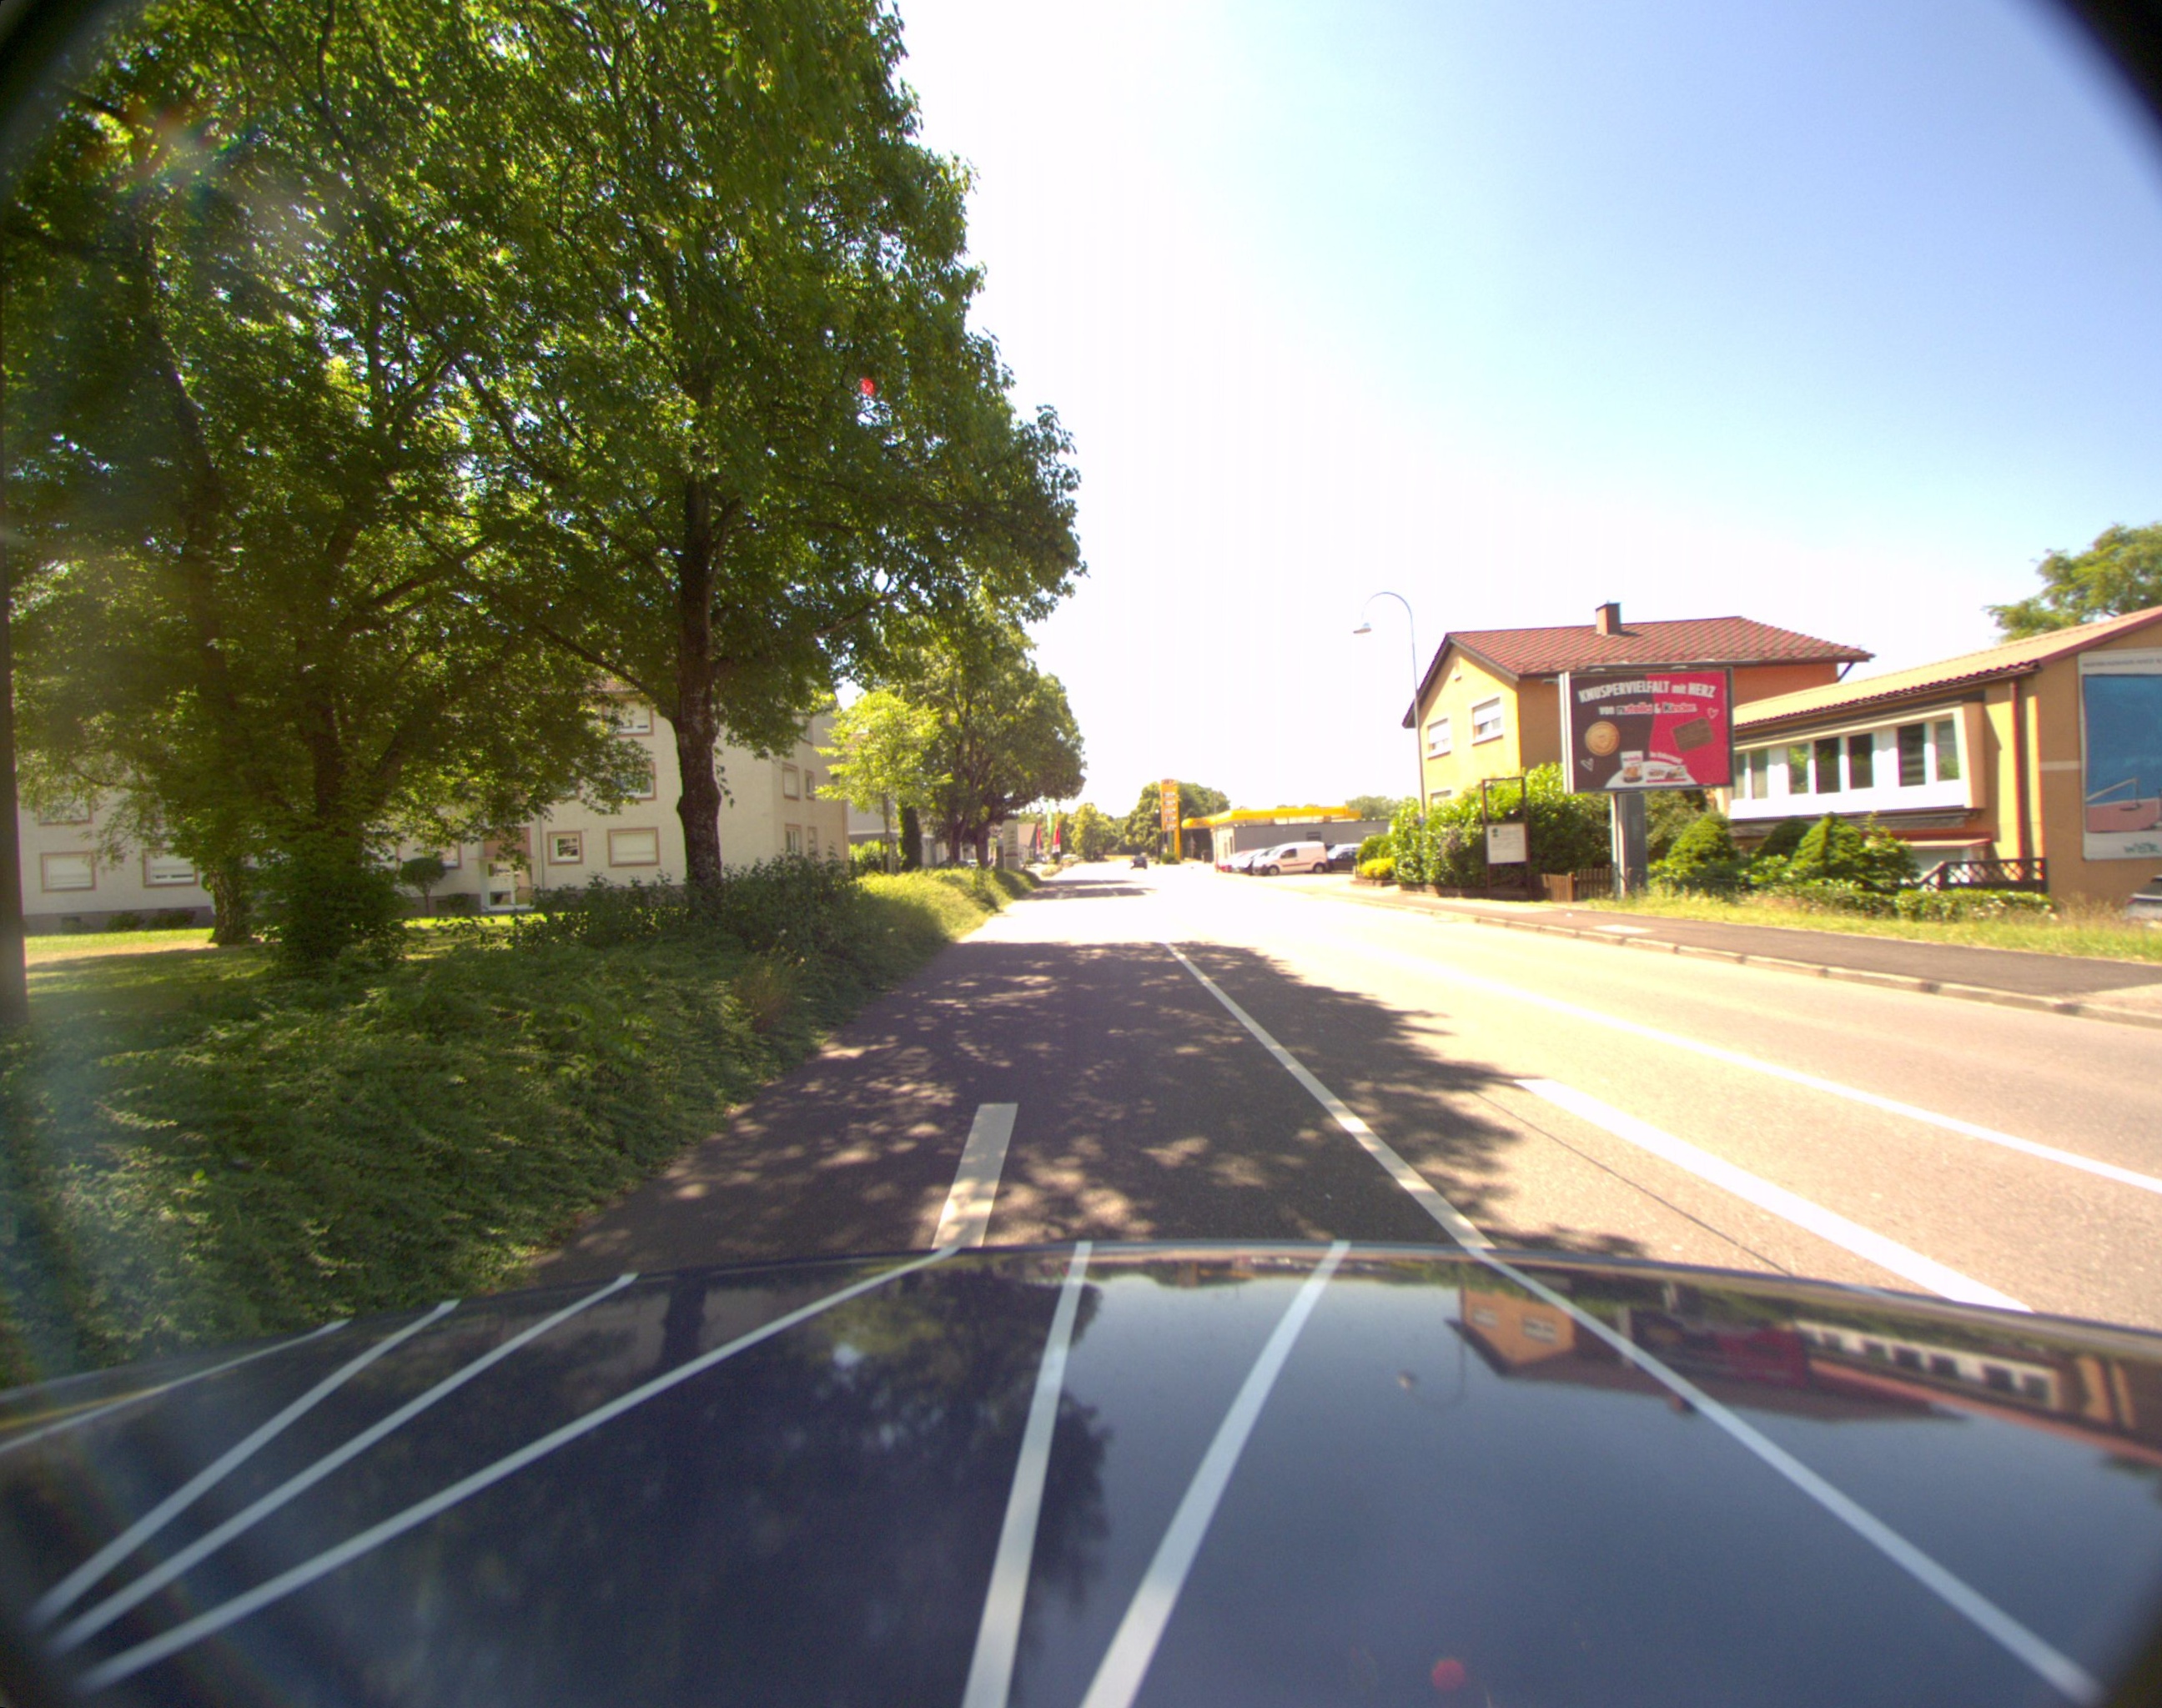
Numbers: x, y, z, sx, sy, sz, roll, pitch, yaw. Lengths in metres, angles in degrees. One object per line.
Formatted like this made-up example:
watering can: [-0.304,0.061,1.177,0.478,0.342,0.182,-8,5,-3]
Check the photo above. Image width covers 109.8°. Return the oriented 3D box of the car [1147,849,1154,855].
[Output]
car: [20.040,-0.668,219.537,1.973,1.663,4.250,-2,0,5]

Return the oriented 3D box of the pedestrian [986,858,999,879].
pedestrian: [-7.134,1.142,61.237,0.842,1.632,1.010,-2,1,5]

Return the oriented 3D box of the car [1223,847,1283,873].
car: [11.899,0.403,52.818,3.673,1.596,1.881,-2,1,-2]

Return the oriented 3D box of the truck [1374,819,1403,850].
truck: [34.360,-2.124,84.901,1.850,3.223,3.190,-2,0,1]

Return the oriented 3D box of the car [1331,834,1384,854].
car: [24.402,-0.870,67.061,3.996,1.575,1.754,-2,1,2]

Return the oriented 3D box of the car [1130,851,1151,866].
car: [6.204,0.493,79.493,1.714,1.486,4.277,-2,0,0]

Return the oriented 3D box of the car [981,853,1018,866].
car: [-11.177,0.737,104.184,4.586,1.632,2.002,-2,1,20]

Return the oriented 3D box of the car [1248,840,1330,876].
car: [12.049,0.211,44.148,4.105,1.887,1.999,-2,1,-4]

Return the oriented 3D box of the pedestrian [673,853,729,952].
pedestrian: [-7.550,0.941,15.120,0.705,1.903,0.660,-2,1,3]

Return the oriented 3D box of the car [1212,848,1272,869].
car: [12.164,0.347,57.655,4.136,1.435,1.826,-2,1,0]

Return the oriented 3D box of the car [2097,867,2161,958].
car: [19.707,0.928,12.207,4.035,1.442,1.781,-1,0,6]

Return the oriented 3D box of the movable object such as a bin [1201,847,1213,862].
movable object such as a bin: [13.454,0.062,81.070,0.954,1.508,1.428,-6,-1,1]

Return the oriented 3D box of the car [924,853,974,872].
car: [-11.426,0.733,66.088,3.997,1.541,1.797,-1,1,0]

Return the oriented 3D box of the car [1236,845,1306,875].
car: [11.524,0.347,46.246,3.673,1.663,1.922,-2,1,-2]

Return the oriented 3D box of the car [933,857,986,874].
car: [-11.163,1.018,69.777,4.362,1.363,1.952,-2,1,-22]

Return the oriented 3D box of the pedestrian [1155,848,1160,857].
pedestrian: [14.031,-0.274,139.909,0.730,1.779,0.621,-2,1,14]

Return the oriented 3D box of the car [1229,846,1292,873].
car: [11.955,0.344,50.626,3.673,1.572,1.922,-2,1,-2]

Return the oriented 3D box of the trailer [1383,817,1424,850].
trailer: [34.296,-2.137,81.041,1.869,3.200,5.914,-2,0,1]

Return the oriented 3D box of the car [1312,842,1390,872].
car: [16.349,0.186,46.078,3.997,1.559,1.830,-3,0,-1]

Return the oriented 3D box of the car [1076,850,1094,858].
car: [0.856,0.090,150.235,3.405,1.498,1.582,-1,0,2]

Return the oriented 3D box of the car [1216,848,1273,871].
car: [11.908,0.388,55.354,3.673,1.449,1.892,-2,1,-2]

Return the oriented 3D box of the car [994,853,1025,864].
car: [-10.441,0.632,111.234,3.992,1.452,1.807,-2,1,16]

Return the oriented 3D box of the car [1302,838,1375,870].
car: [16.273,-0.015,48.226,3.912,1.850,2.000,-2,0,-1]

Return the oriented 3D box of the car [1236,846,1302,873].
car: [11.938,0.349,48.517,3.673,1.523,1.922,-2,1,-2]

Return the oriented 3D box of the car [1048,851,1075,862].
car: [-3.544,0.444,137.695,4.522,1.658,1.895,-2,0,9]
